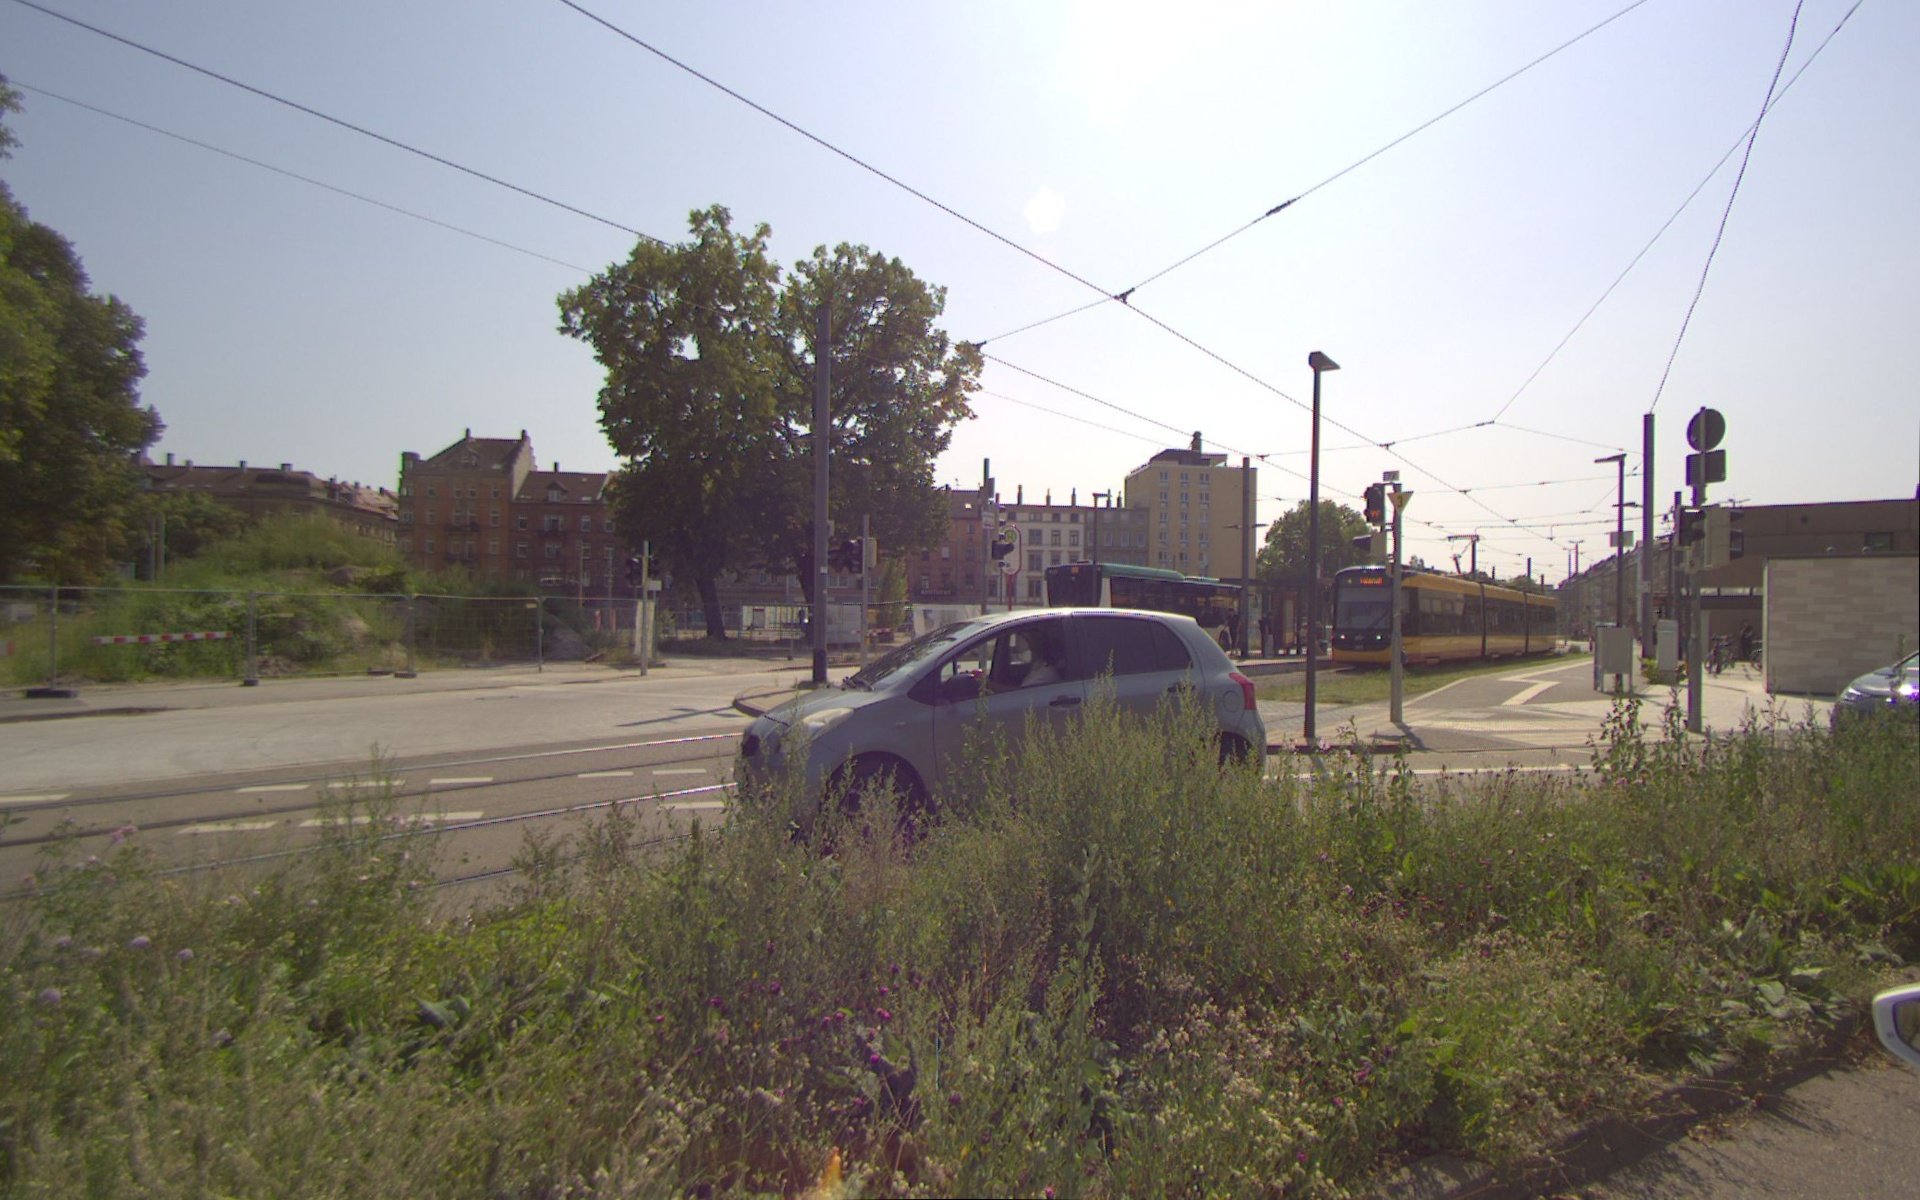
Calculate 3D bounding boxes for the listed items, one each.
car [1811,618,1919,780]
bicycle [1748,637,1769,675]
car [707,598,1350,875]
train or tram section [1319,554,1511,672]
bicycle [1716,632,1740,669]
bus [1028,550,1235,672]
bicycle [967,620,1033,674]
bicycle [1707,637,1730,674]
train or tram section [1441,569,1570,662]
[{"bbox_3d":[11.123,0.976,10.315,4.115,1.550,1.696,1,-1,-17],"label":"car"},{"bbox_3d":[23.867,1.658,30.011,0.458,1.115,1.416,1,-1,39],"label":"bicycle"},{"bbox_3d":[0.466,0.814,7.119,4.258,1.550,1.649,1,-1,-19],"label":"car"},{"bbox_3d":[18.078,0.593,38.570,2.820,3.595,17.673,1,-1,37],"label":"train or tram section"},{"bbox_3d":[27.502,1.773,35.951,0.598,1.270,2.611,1,-1,39],"label":"bicycle"},{"bbox_3d":[6.625,0.462,36.743,2.920,3.825,10.556,1,-1,37],"label":"bus"},{"bbox_3d":[0.962,1.103,23.821,0.600,1.239,1.696,0,-1,42],"label":"bicycle"},{"bbox_3d":[22.593,1.640,29.909,0.458,1.046,1.541,1,-1,39],"label":"bicycle"},{"bbox_3d":[29.308,0.909,53.160,2.850,4.122,19.062,1,-1,38],"label":"train or tram section"}]
